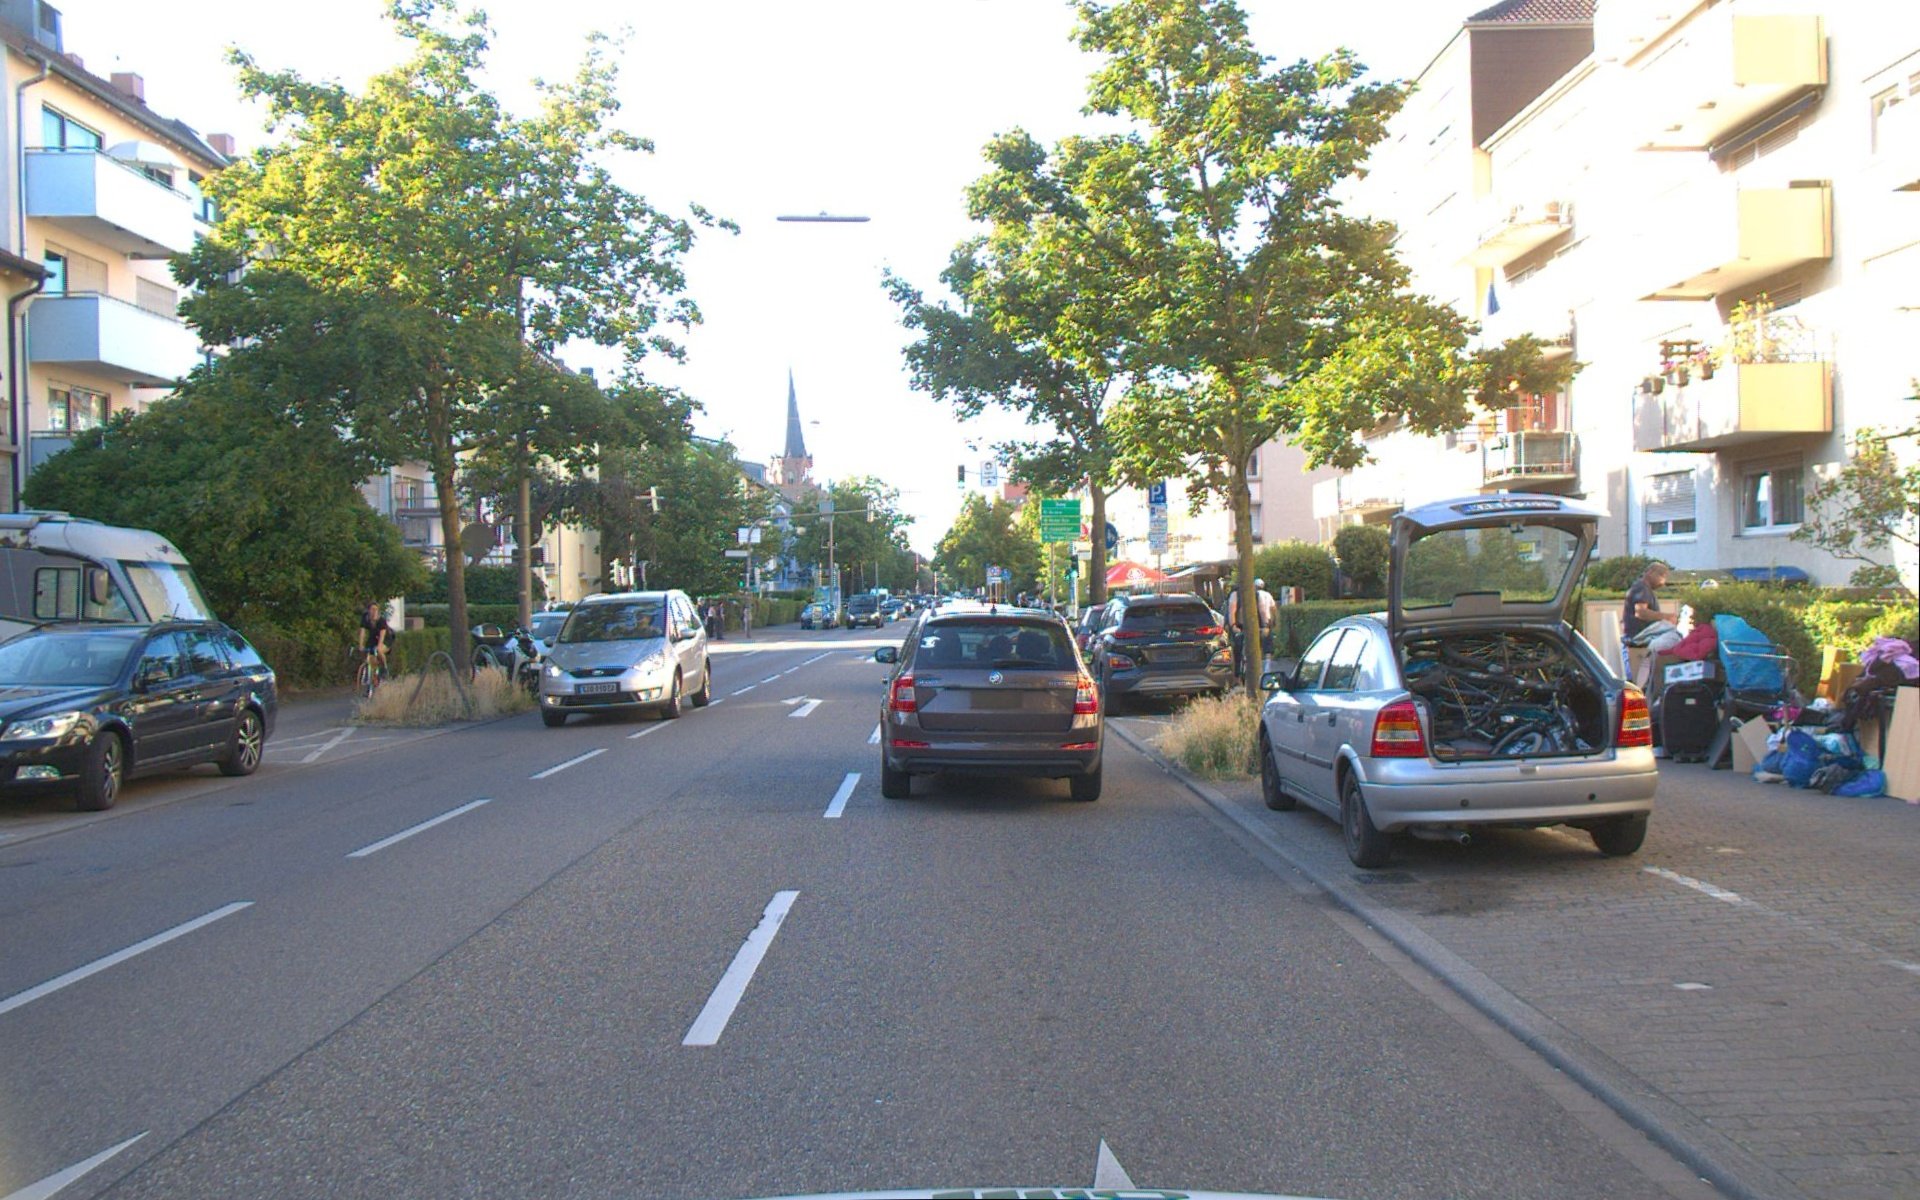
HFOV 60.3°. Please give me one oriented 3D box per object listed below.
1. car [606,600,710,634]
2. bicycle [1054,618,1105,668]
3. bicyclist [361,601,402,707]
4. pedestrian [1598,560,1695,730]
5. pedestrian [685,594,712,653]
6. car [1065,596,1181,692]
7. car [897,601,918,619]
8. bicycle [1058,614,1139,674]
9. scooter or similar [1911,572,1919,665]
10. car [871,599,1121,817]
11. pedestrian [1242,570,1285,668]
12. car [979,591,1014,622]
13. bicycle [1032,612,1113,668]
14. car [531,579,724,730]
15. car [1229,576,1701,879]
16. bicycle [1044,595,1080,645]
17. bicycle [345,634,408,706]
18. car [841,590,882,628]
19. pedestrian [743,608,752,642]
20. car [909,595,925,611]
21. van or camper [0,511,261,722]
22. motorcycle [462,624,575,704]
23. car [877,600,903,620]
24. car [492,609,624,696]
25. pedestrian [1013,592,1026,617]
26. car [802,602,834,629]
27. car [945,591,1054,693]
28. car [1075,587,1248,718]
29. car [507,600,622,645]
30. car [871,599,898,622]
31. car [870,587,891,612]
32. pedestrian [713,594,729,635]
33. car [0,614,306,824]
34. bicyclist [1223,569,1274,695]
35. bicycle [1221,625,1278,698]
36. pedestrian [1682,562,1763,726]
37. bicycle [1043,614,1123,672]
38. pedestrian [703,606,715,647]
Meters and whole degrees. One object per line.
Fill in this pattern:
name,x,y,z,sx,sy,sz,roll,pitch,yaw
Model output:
car,-14.192,0.793,77.927,4.540,1.562,1.861,0,0,-1
bicycle,2.667,0.946,36.756,0.606,1.070,1.572,-1,0,25
bicyclist,-9.376,0.870,26.806,0.459,1.692,0.552,-1,0,-1
pedestrian,6.949,0.443,16.735,0.742,1.668,0.693,-1,0,36
pedestrian,-9.014,0.811,57.050,0.764,2.022,0.821,-1,0,0
car,2.750,0.709,28.581,1.668,1.475,4.014,-3,0,2
car,-4.780,0.877,151.259,1.751,1.598,4.000,1,0,0
bicycle,2.695,0.851,32.245,1.538,1.123,0.392,-1,0,0
scooter or similar,13.717,0.249,22.970,0.602,1.295,0.668,-1,0,-1
car,0.219,0.754,13.694,1.737,1.515,4.310,0,0,-1
pedestrian,5.683,0.347,30.983,0.648,1.779,0.773,-2,0,6
car,2.176,0.370,98.235,1.952,1.803,4.001,1,0,2
bicycle,2.613,0.920,38.446,1.796,1.178,0.684,-3,-1,6
car,-4.566,0.697,23.403,1.769,1.836,4.744,-3,0,-1
car,3.007,0.672,10.843,1.673,1.506,4.267,-3,0,-1
bicycle,2.489,0.491,40.640,0.492,1.167,1.956,-3,0,-6
bicycle,-9.367,1.113,26.602,0.476,1.083,1.534,-1,0,-1
car,-5.440,0.488,91.609,1.953,1.942,4.963,-3,0,-1
pedestrian,-9.781,1.147,76.098,0.294,1.530,0.640,-1,0,0
car,-5.657,0.433,217.716,1.953,2.049,4.000,-1,0,0
van or camper,-13.938,0.178,23.794,6.660,2.821,2.351,1,0,-2
motorcycle,-7.419,1.061,27.771,2.015,1.287,0.764,-1,0,38
car,-5.836,0.804,138.491,1.952,1.639,4.000,-1,0,0
car,-7.576,0.950,31.479,1.561,1.496,3.803,1,0,0
pedestrian,4.309,0.325,120.120,0.661,1.734,0.800,-1,0,26
car,-8.032,0.884,93.851,1.491,1.482,3.584,-1,0,0
car,0.645,0.676,28.315,1.701,1.598,4.000,1,0,0
car,2.736,0.679,23.307,1.818,1.609,4.012,-3,0,-1
car,-17.125,0.954,71.799,4.540,1.843,1.861,-1,0,-1
car,-5.560,0.747,122.116,1.793,1.607,4.000,-1,0,0
car,-8.207,-0.021,170.457,1.953,2.521,3.999,-1,0,-1
pedestrian,-10.786,0.651,74.676,0.603,1.828,0.504,-1,0,0
car,-7.608,0.912,14.650,1.829,1.521,4.517,1,0,0
bicyclist,4.265,0.462,24.495,0.569,1.820,0.852,-1,0,0
bicycle,4.268,0.888,24.479,0.505,1.004,1.831,-1,0,0
pedestrian,7.483,0.419,16.228,0.582,1.567,0.693,-1,0,36
bicycle,2.643,0.916,35.487,1.651,1.127,0.517,-3,-1,6
pedestrian,-11.376,1.188,74.997,0.440,1.828,0.504,-1,0,0
